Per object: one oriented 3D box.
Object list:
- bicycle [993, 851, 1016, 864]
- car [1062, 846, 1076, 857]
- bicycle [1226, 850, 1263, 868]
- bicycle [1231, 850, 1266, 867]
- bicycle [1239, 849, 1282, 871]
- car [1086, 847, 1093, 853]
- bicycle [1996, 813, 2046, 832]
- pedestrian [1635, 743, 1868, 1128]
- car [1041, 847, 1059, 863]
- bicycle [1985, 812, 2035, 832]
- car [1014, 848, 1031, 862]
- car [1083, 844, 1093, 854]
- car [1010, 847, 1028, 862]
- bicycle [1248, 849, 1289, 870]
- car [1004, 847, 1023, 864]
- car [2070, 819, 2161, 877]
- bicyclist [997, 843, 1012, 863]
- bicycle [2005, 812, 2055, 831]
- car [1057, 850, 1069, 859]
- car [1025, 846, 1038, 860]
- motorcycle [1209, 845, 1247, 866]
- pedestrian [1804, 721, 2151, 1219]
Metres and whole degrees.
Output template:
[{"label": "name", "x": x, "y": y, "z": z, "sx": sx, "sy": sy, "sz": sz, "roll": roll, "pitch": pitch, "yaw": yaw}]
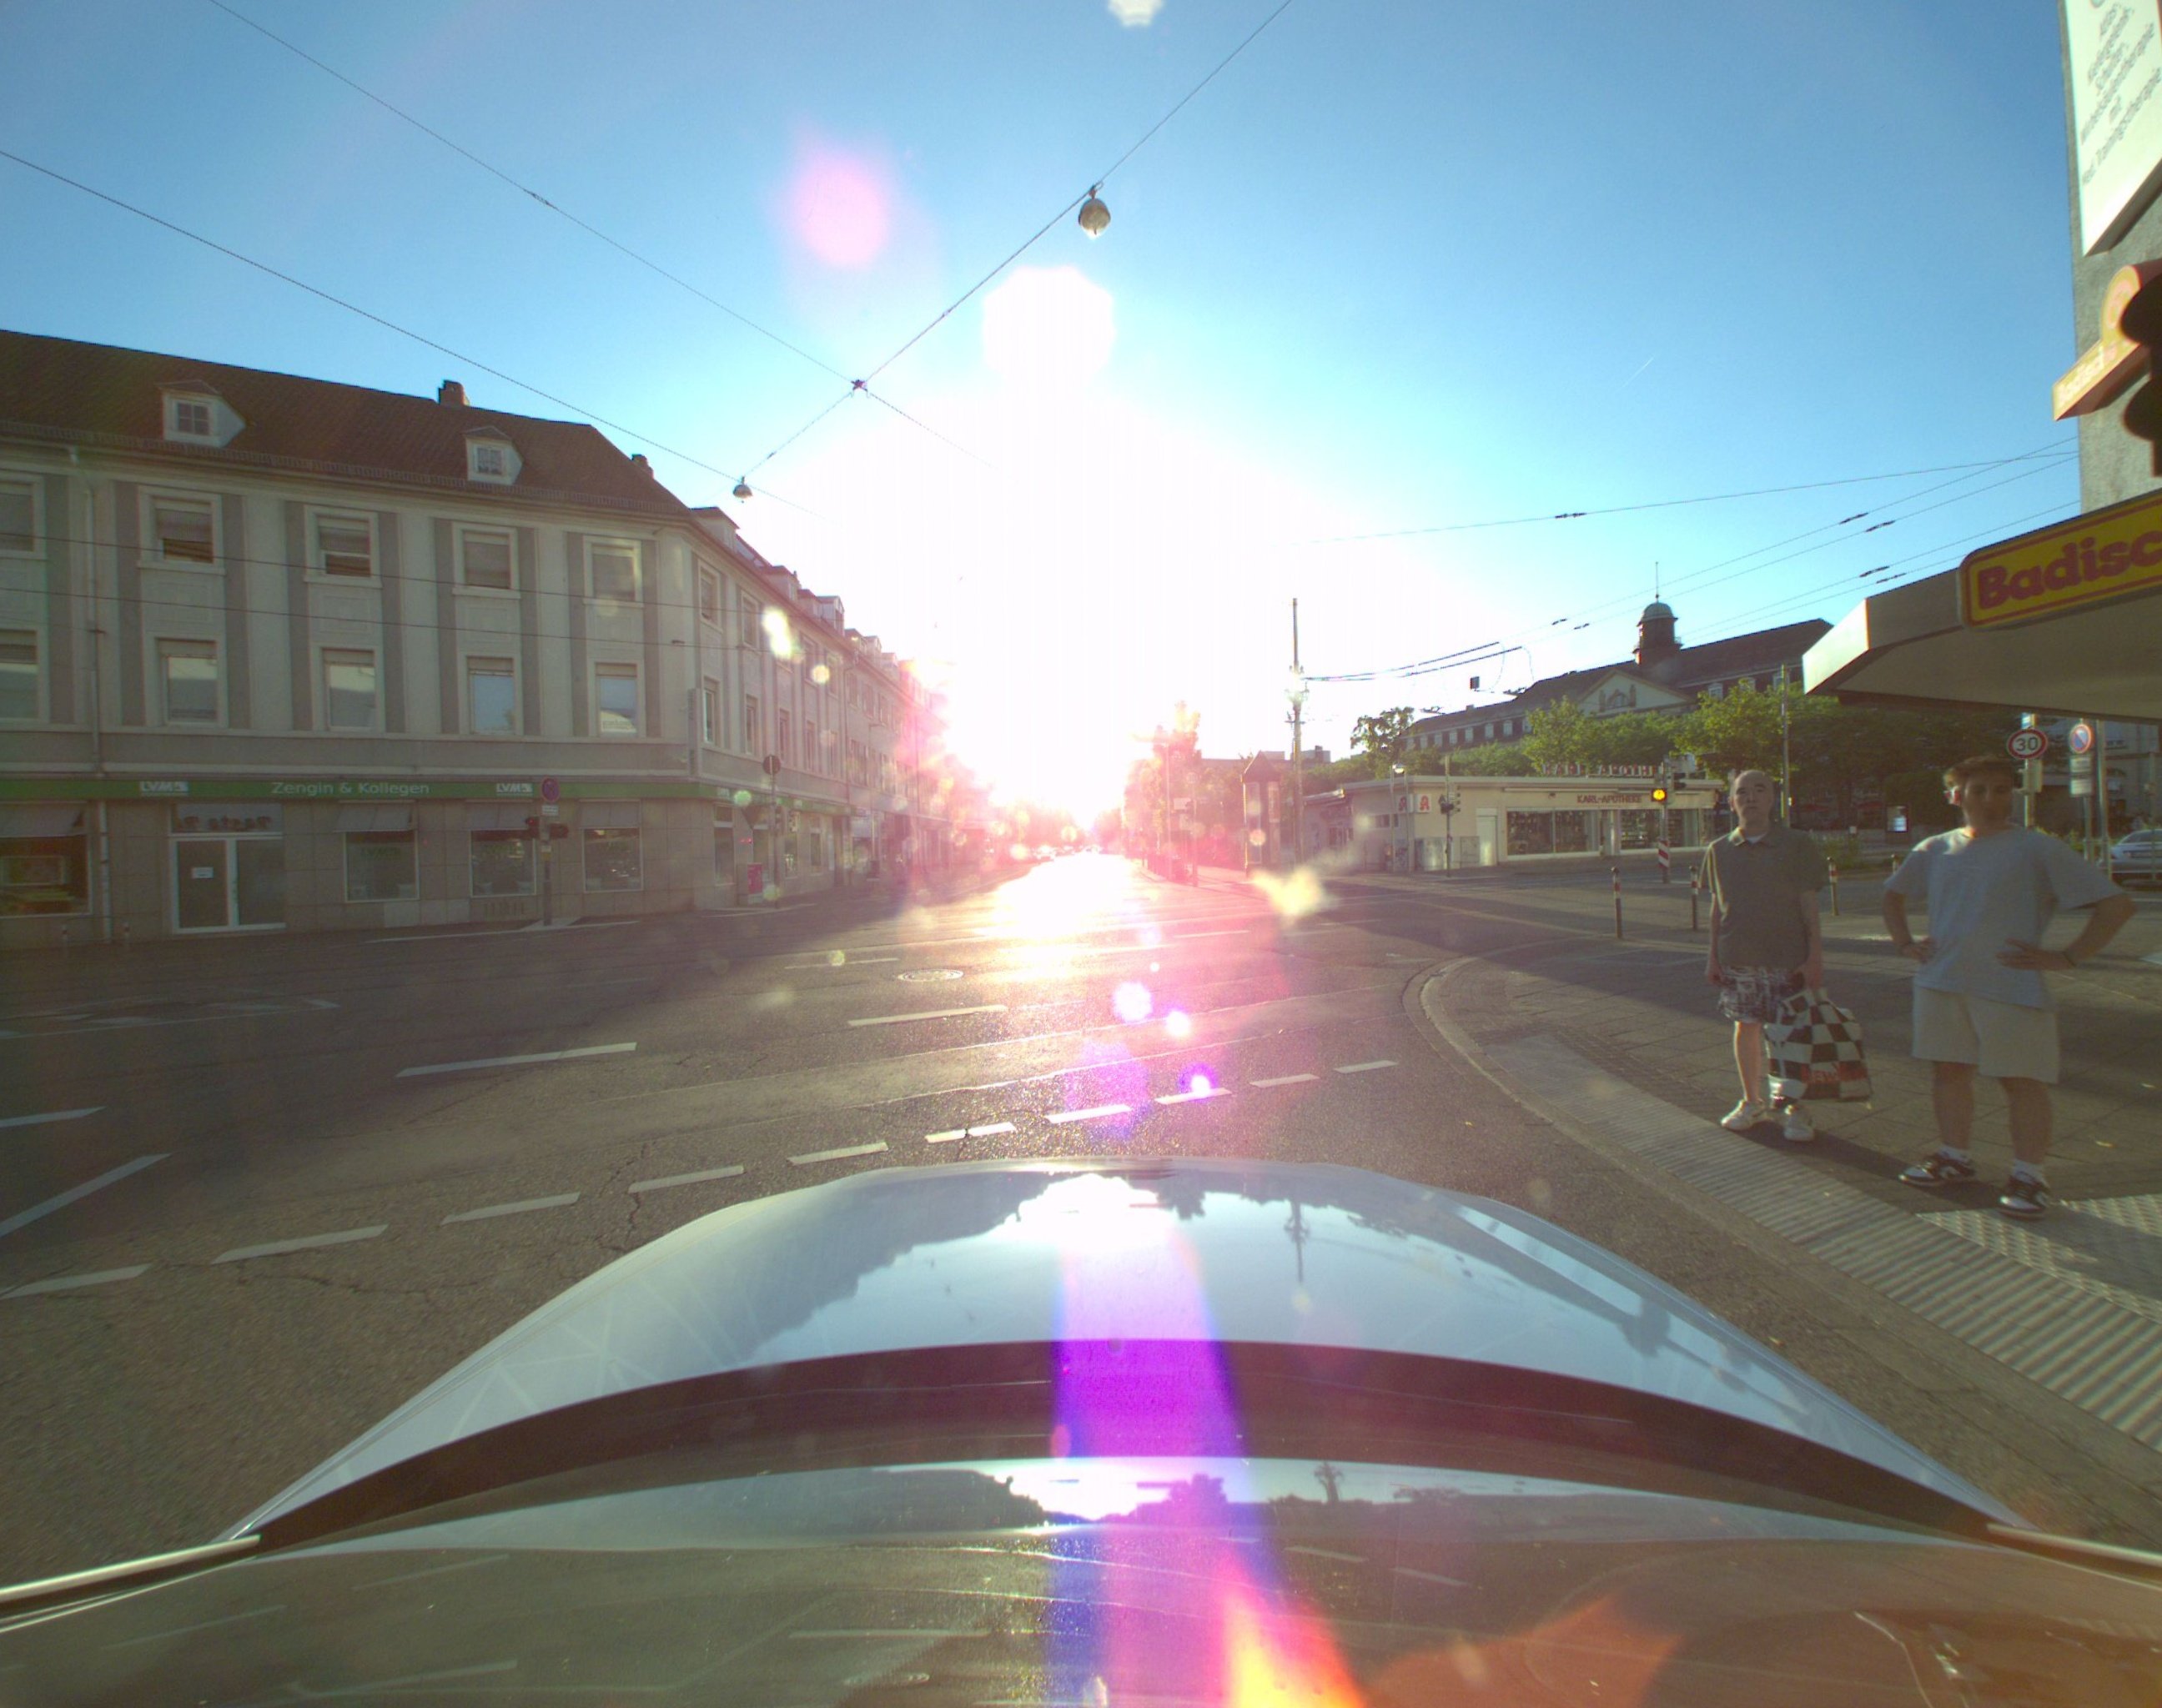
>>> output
[{"label": "bicycle", "x": -6.875, "y": 0.329, "z": 73.161, "sx": 2.100, "sy": 1.204, "sz": 0.503, "roll": 0, "pitch": -1, "yaw": 19}, {"label": "car", "x": -2.044, "y": -0.478, "z": 137.807, "sx": 1.985, "sy": 1.684, "sz": 4.003, "roll": -2, "pitch": 0, "yaw": 3}, {"label": "bicycle", "x": 9.440, "y": 0.302, "z": 47.188, "sx": 2.065, "sy": 0.982, "sz": 0.561, "roll": -2, "pitch": -1, "yaw": 8}, {"label": "bicycle", "x": 10.024, "y": 0.283, "z": 48.732, "sx": 2.026, "sy": 0.977, "sz": 0.561, "roll": -2, "pitch": -1, "yaw": 8}, {"label": "bicycle", "x": 9.333, "y": 0.308, "z": 42.417, "sx": 2.134, "sy": 1.043, "sz": 0.561, "roll": -2, "pitch": -1, "yaw": 8}, {"label": "car", "x": 2.633, "y": -1.249, "z": 247.182, "sx": 1.985, "sy": 1.815, "sz": 4.003, "roll": -2, "pitch": 0, "yaw": 3}, {"label": "bicycle", "x": 65.886, "y": -2.214, "z": 57.125, "sx": 0.580, "sy": 1.255, "sz": 2.232, "roll": 0, "pitch": 0, "yaw": -22}, {"label": "pedestrian", "x": 3.447, "y": 0.370, "z": 4.217, "sx": 0.588, "sy": 1.773, "sz": 0.742, "roll": -2, "pitch": 0, "yaw": -30}, {"label": "car", "x": -2.962, "y": 0.067, "z": 78.512, "sx": 1.540, "sy": 1.468, "sz": 3.352, "roll": -1, "pitch": 0, "yaw": 0}, {"label": "bicycle", "x": 64.559, "y": -2.216, "z": 56.615, "sx": 0.580, "sy": 1.300, "sz": 2.187, "roll": 0, "pitch": 0, "yaw": -22}, {"label": "car", "x": -6.308, "y": 0.069, "z": 87.931, "sx": 1.540, "sy": 1.469, "sz": 3.352, "roll": -1, "pitch": 0, "yaw": 0}, {"label": "car", "x": 1.554, "y": -1.087, "z": 176.929, "sx": 1.986, "sy": 2.014, "sz": 4.001, "roll": 0, "pitch": 0, "yaw": 1}, {"label": "car", "x": -6.278, "y": 0.096, "z": 82.951, "sx": 1.540, "sy": 1.469, "sz": 3.352, "roll": -1, "pitch": 0, "yaw": 0}, {"label": "bicycle", "x": 9.525, "y": 0.282, "z": 41.400, "sx": 2.008, "sy": 1.044, "sz": 0.561, "roll": -2, "pitch": -1, "yaw": 8}, {"label": "car", "x": -6.540, "y": 0.134, "z": 79.309, "sx": 1.540, "sy": 1.483, "sz": 3.352, "roll": -2, "pitch": 0, "yaw": 0}, {"label": "car", "x": 25.546, "y": -0.168, "z": 19.178, "sx": 4.064, "sy": 1.282, "sz": 1.668, "roll": -1, "pitch": 0, "yaw": -21}, {"label": "bicyclist", "x": -6.840, "y": -0.121, "z": 73.164, "sx": 1.119, "sy": 1.790, "sz": 0.769, "roll": 0, "pitch": -1, "yaw": 20}, {"label": "bicycle", "x": 67.379, "y": -2.288, "z": 57.854, "sx": 0.585, "sy": 1.232, "sz": 2.232, "roll": -1, "pitch": 0, "yaw": -22}, {"label": "car", "x": -3.185, "y": 0.133, "z": 146.968, "sx": 1.986, "sy": 1.680, "sz": 4.002, "roll": 0, "pitch": 0, "yaw": 2}, {"label": "car", "x": -5.765, "y": -0.065, "z": 94.634, "sx": 1.302, "sy": 1.582, "sz": 2.889, "roll": -1, "pitch": 0, "yaw": 0}, {"label": "motorcycle", "x": 9.074, "y": 0.072, "z": 50.326, "sx": 2.223, "sy": 1.201, "sz": 0.721, "roll": -2, "pitch": 0, "yaw": 6}, {"label": "pedestrian", "x": 3.645, "y": 0.404, "z": 3.357, "sx": 0.639, "sy": 1.773, "sz": 0.744, "roll": -2, "pitch": 0, "yaw": -20}]
